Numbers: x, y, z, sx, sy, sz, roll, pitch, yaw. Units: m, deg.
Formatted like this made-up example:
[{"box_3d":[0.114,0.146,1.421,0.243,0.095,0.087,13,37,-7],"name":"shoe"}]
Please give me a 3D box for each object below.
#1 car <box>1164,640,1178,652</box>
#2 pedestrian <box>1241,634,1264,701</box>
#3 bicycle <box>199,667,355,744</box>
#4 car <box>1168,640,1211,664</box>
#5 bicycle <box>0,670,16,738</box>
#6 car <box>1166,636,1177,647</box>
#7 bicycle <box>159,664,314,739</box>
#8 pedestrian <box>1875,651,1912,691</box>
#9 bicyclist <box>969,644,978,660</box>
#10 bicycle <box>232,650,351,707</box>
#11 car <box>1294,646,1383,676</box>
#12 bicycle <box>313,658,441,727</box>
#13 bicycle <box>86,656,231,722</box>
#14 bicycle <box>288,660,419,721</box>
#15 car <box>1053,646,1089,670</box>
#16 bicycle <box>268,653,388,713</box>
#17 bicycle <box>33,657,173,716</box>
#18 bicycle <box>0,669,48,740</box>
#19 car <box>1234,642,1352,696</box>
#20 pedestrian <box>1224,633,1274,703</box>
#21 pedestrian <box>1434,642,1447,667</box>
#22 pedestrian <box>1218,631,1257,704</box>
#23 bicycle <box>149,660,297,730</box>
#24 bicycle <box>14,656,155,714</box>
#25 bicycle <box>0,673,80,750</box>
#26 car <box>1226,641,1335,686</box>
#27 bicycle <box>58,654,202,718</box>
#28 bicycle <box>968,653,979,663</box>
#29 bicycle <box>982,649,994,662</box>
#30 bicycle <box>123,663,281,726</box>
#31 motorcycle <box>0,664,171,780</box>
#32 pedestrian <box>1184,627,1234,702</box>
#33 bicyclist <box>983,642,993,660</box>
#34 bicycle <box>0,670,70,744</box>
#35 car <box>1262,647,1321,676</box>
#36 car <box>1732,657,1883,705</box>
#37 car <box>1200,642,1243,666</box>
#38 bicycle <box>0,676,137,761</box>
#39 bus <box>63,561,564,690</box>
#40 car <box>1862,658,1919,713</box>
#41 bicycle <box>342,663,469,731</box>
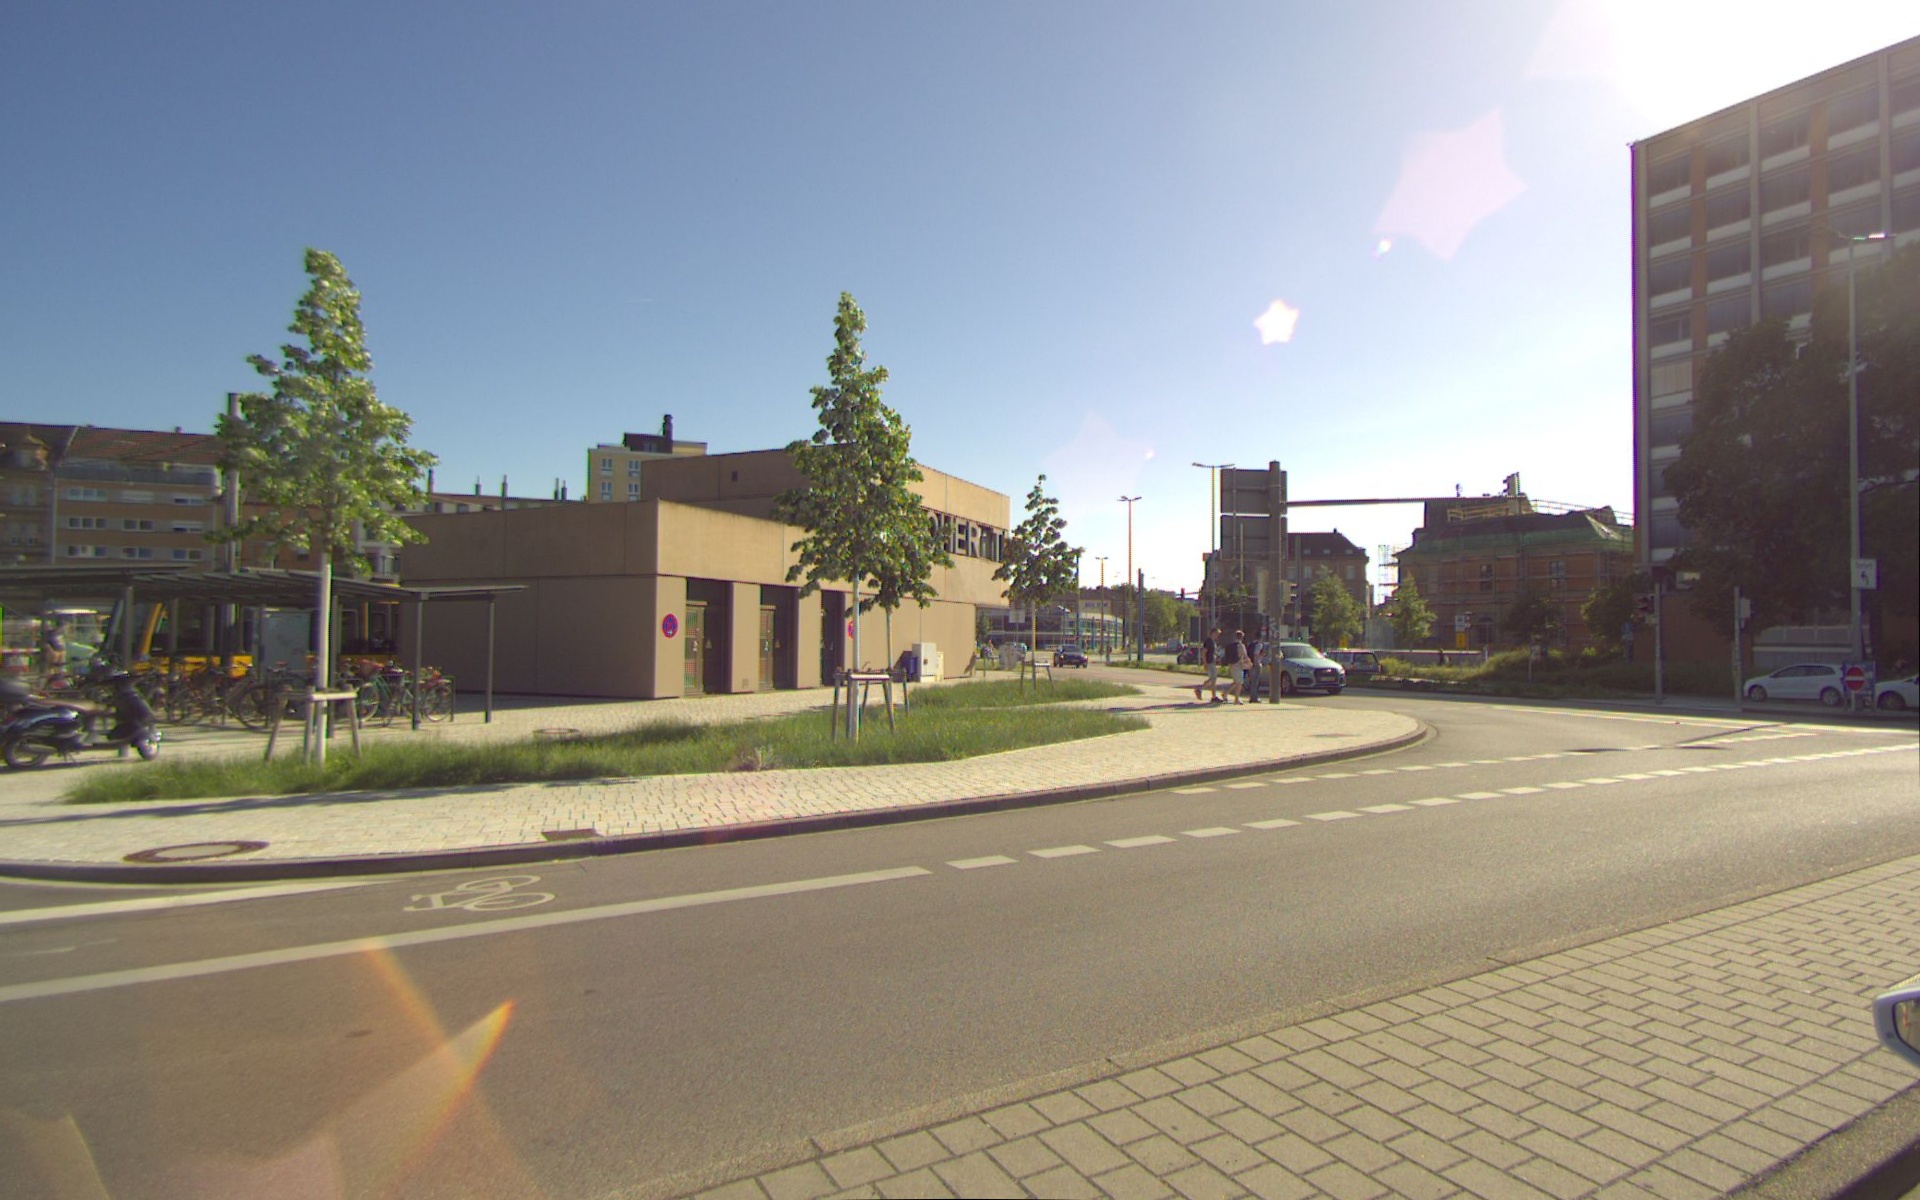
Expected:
[{"box_3d":[35.697,7.744,170.269,1.959,2.040,4.003,0,-2,7],"name":"car"},{"box_3d":[7.875,1.809,27.070,0.585,1.751,0.580,0,-2,14],"name":"pedestrian"},{"box_3d":[-10.908,1.653,16.134,0.524,1.051,2.070,2,0,26],"name":"bicycle"},{"box_3d":[16.699,3.765,73.359,1.809,1.653,4.384,1,-2,-6],"name":"car"},{"box_3d":[-14.723,1.544,14.426,0.399,0.985,1.683,2,0,22],"name":"bicycle"},{"box_3d":[39.162,7.598,185.744,1.959,2.040,4.003,0,-2,11],"name":"car"},{"box_3d":[-12.015,1.655,16.768,0.524,1.051,2.070,2,0,26],"name":"bicycle"},{"box_3d":[36.996,2.812,39.813,0.550,1.591,0.860,0,-4,-16],"name":"pedestrian"},{"box_3d":[1.245,4.784,91.897,0.674,1.440,1.126,1,-4,-9],"name":"bicyclist"},{"box_3d":[-13.922,1.619,20.993,0.524,1.051,2.070,2,0,26],"name":"bicycle"},{"box_3d":[19.207,3.066,51.255,1.813,1.406,4.887,1,-2,-14],"name":"car"},{"box_3d":[-10.802,1.686,18.700,0.594,1.093,2.053,2,0,25],"name":"bicycle"},{"box_3d":[-15.022,1.644,18.906,0.524,1.051,2.070,5,1,26],"name":"bicycle"},{"box_3d":[-11.767,1.736,19.573,0.679,1.011,2.140,2,0,26],"name":"bicycle"},{"box_3d":[7.288,3.849,66.314,1.783,1.524,4.786,-1,-3,0],"name":"car"},{"box_3d":[-12.748,1.651,20.329,0.524,1.051,2.070,2,0,26],"name":"bicycle"},{"box_3d":[-16.889,1.681,19.849,0.524,1.051,2.070,-2,-2,26],"name":"bicycle"},{"box_3d":[-14.205,1.529,14.376,0.399,0.985,1.683,2,0,22],"name":"bicycle"},{"box_3d":[10.481,2.168,31.959,1.761,1.602,4.251,0,-3,-10],"name":"car"},{"box_3d":[7.318,1.734,25.447,0.831,1.711,0.896,5,-5,-34],"name":"pedestrian"},{"box_3d":[32.966,3.735,68.917,0.636,1.637,0.548,0,-2,10],"name":"pedestrian"},{"box_3d":[6.672,1.637,24.206,0.773,1.711,0.796,1,-5,5],"name":"pedestrian"},{"box_3d":[-12.904,1.633,17.657,0.524,1.051,2.070,2,0,26],"name":"bicycle"},{"box_3d":[-17.777,1.701,20.457,0.524,1.051,2.070,5,0,26],"name":"bicycle"},{"box_3d":[-13.235,1.547,13.813,0.399,0.985,1.683,2,0,22],"name":"bicycle"},{"box_3d":[12.725,2.522,40.195,1.815,1.640,4.687,3,-4,-16],"name":"car"},{"box_3d":[-15.907,1.627,19.321,0.524,1.051,2.070,5,1,26],"name":"bicycle"},{"box_3d":[1.242,5.317,91.861,0.674,0.930,1.989,1,-4,-8],"name":"bicycle"},{"box_3d":[2.350,4.674,84.256,0.727,1.008,1.989,1,-4,-8],"name":"bicycle"},{"box_3d":[-13.714,1.681,18.262,0.673,0.956,2.233,2,0,25],"name":"bicycle"},{"box_3d":[-10.941,1.446,12.250,0.558,1.235,2.087,0,-1,21],"name":"motorcycle"},{"box_3d":[6.205,1.612,25.040,1.081,1.822,0.705,1,-4,0],"name":"pedestrian"},{"box_3d":[2.348,4.270,84.279,0.727,1.519,1.071,1,-3,-8],"name":"bicyclist"},{"box_3d":[-13.701,1.534,14.175,0.399,0.985,1.683,2,0,22],"name":"bicycle"},{"box_3d":[20.695,3.834,62.898,1.810,1.653,4.382,1,-2,-8],"name":"car"},{"box_3d":[29.985,2.845,35.681,1.714,1.454,3.838,3,-2,-15],"name":"car"},{"box_3d":[19.612,4.039,75.506,1.809,1.653,4.386,1,-2,-4],"name":"car"},{"box_3d":[-12.207,1.577,13.579,0.399,0.985,1.683,2,0,22],"name":"bicycle"},{"box_3d":[-18.582,0.863,31.046,2.810,3.112,13.620,0,-2,25],"name":"bus"},{"box_3d":[27.170,2.350,27.136,1.717,1.454,3.831,1,-2,-21],"name":"car"},{"box_3d":[-9.972,1.724,18.162,0.524,1.051,2.070,2,0,26],"name":"bicycle"}]
